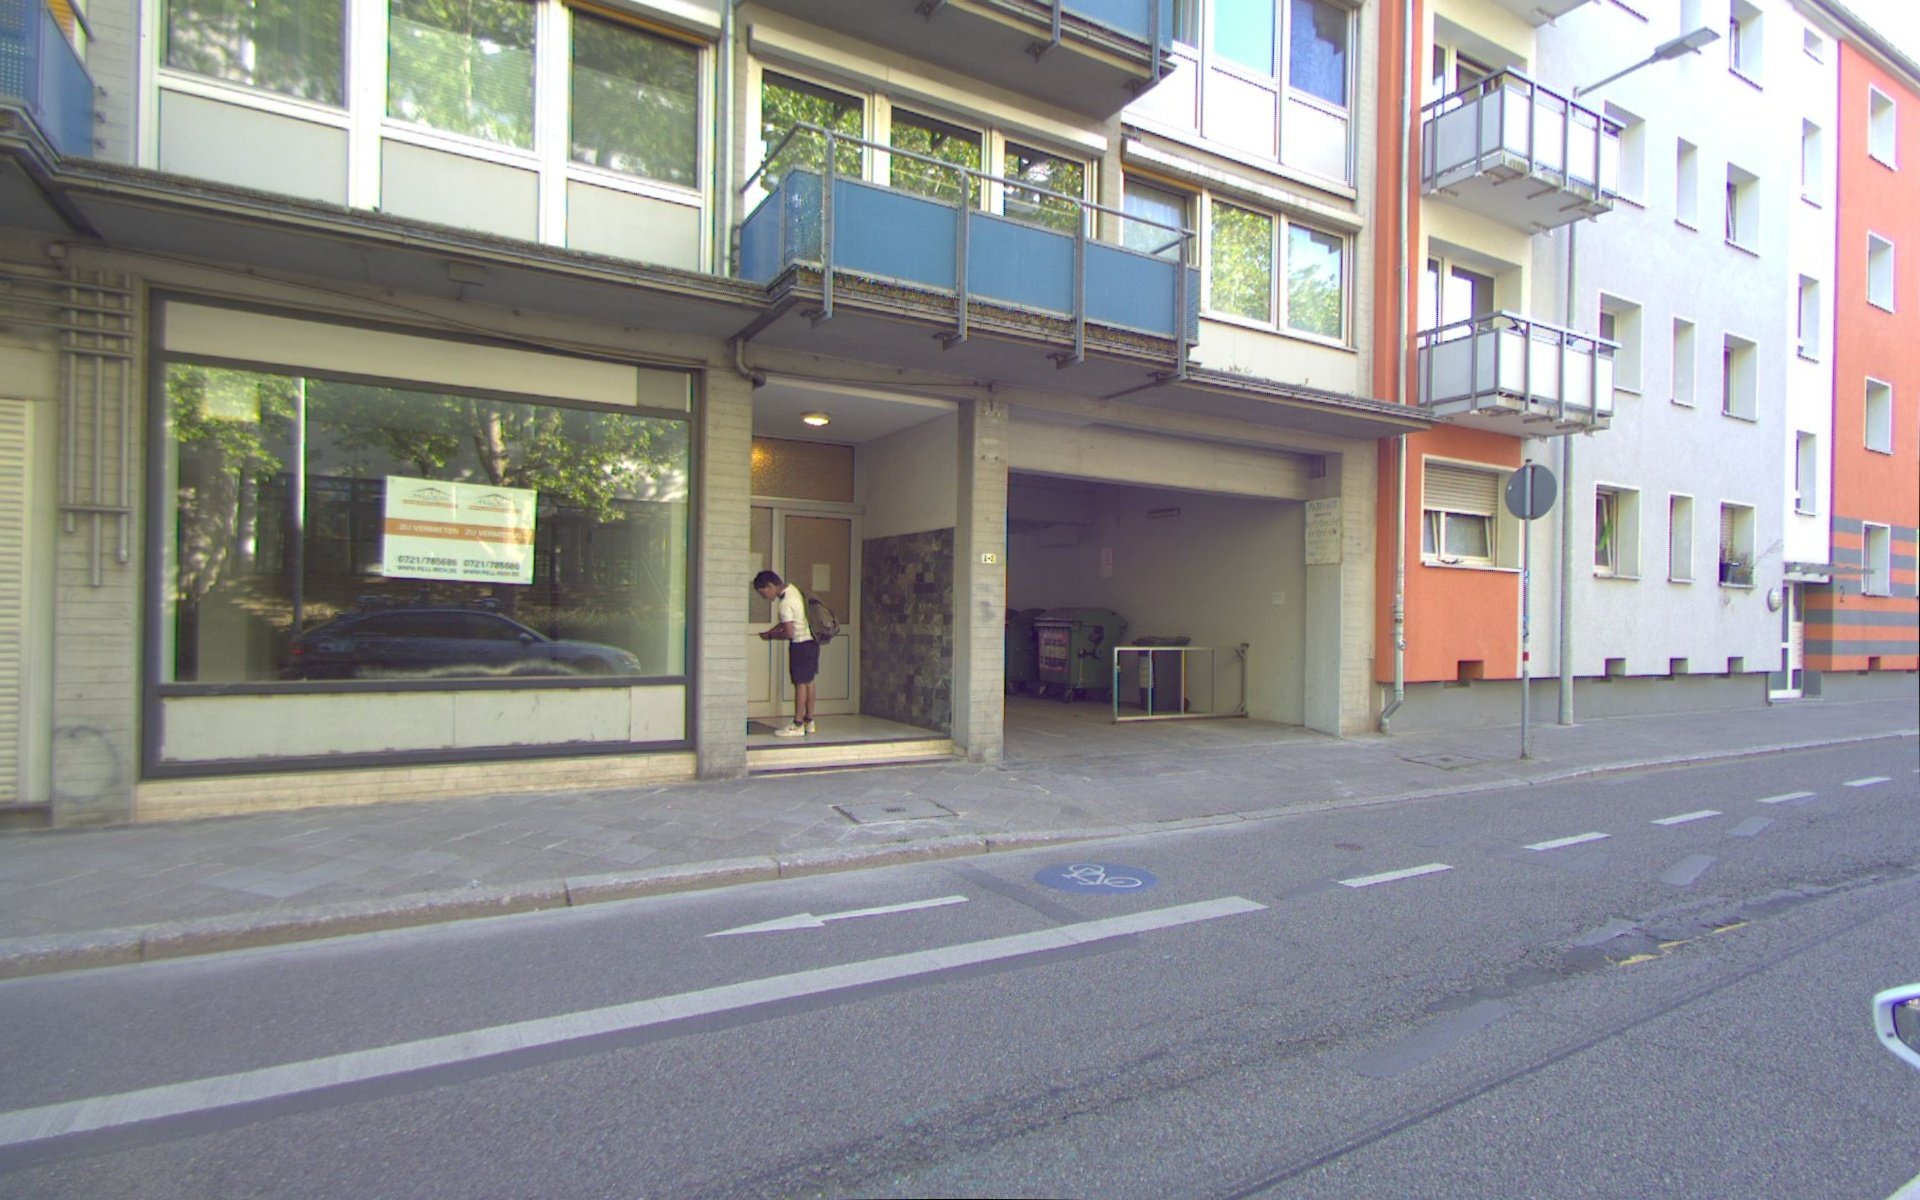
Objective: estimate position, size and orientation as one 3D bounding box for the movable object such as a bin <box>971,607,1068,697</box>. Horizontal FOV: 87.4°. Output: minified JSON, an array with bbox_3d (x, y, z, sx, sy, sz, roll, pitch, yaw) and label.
[{"bbox_3d":[1.005,0.860,17.152,1.120,1.444,1.268,2,0,-28],"label":"movable object such as a bin"}]

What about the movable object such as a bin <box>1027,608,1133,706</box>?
[{"bbox_3d":[1.873,0.876,15.810,1.120,1.444,1.268,2,0,-28],"label":"movable object such as a bin"}]

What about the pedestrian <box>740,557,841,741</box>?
[{"bbox_3d":[-1.569,0.443,9.452,0.821,1.639,0.793,2,0,-4],"label":"pedestrian"}]

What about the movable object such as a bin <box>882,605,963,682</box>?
[{"bbox_3d":[-0.744,0.838,19.787,1.120,1.444,1.268,2,0,-28],"label":"movable object such as a bin"}]

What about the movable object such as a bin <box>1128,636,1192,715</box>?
[{"bbox_3d":[2.884,1.075,14.486,0.713,1.094,0.533,2,0,-29],"label":"movable object such as a bin"}]

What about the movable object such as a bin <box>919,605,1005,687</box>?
[{"bbox_3d":[0.025,0.834,18.695,1.120,1.444,1.268,2,0,-28],"label":"movable object such as a bin"}]
